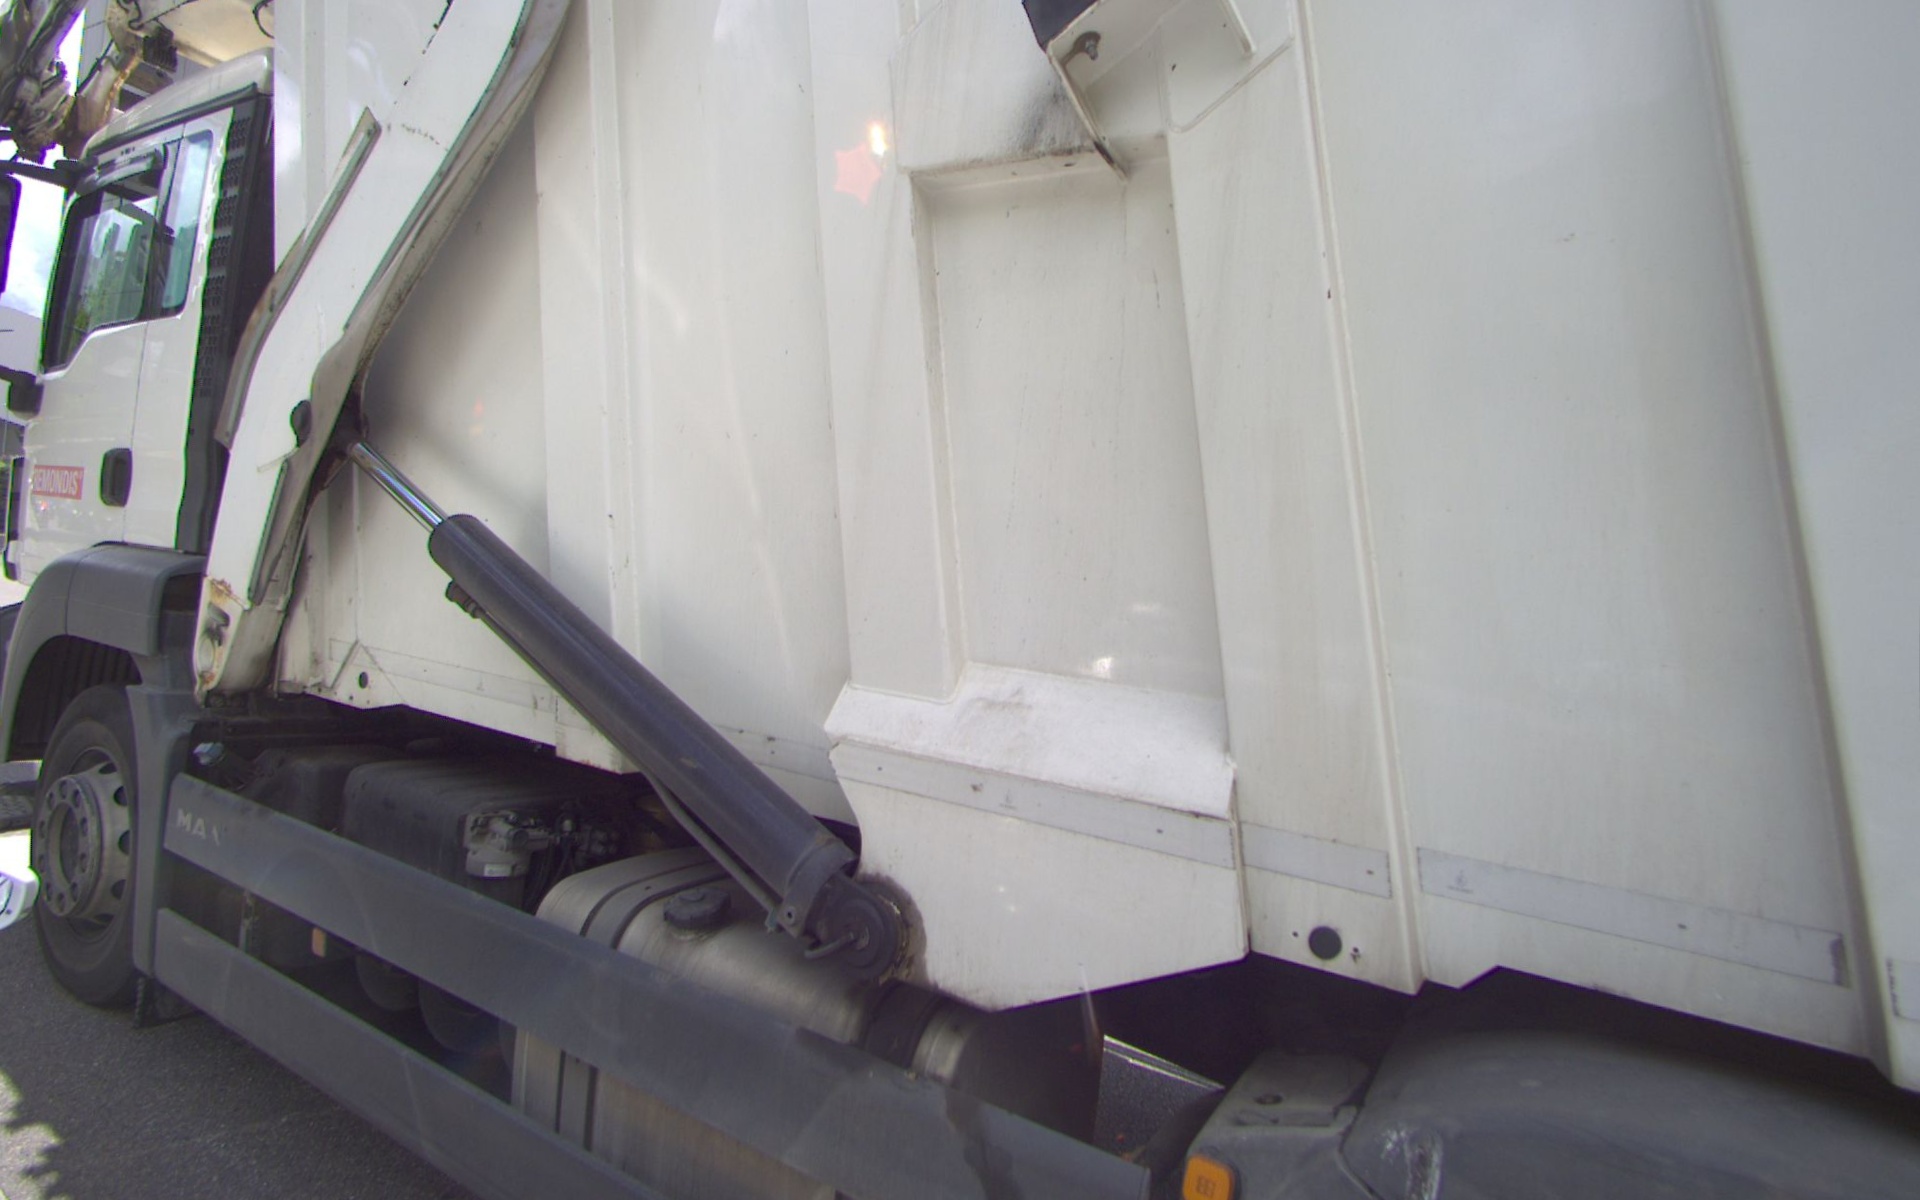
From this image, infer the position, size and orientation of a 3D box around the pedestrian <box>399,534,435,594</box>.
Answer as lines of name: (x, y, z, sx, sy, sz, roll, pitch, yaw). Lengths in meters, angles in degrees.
pedestrian: (-17.229, -1.130, 31.920, 0.634, 1.818, 0.707, 9, 4, 43)

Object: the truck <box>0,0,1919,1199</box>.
truck: (1.100, -0.330, 2.168, 10.003, 3.958, 2.494, 6, -1, 31)

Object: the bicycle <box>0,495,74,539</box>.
bicycle: (-29.290, -2.630, 31.487, 2.197, 1.099, 0.474, 8, -1, -23)

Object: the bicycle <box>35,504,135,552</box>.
bicycle: (-26.962, -2.211, 31.031, 2.166, 1.099, 0.474, 8, -1, -23)

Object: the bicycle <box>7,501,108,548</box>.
bicycle: (-27.955, -2.324, 31.202, 2.197, 1.099, 0.474, 8, -1, -23)
